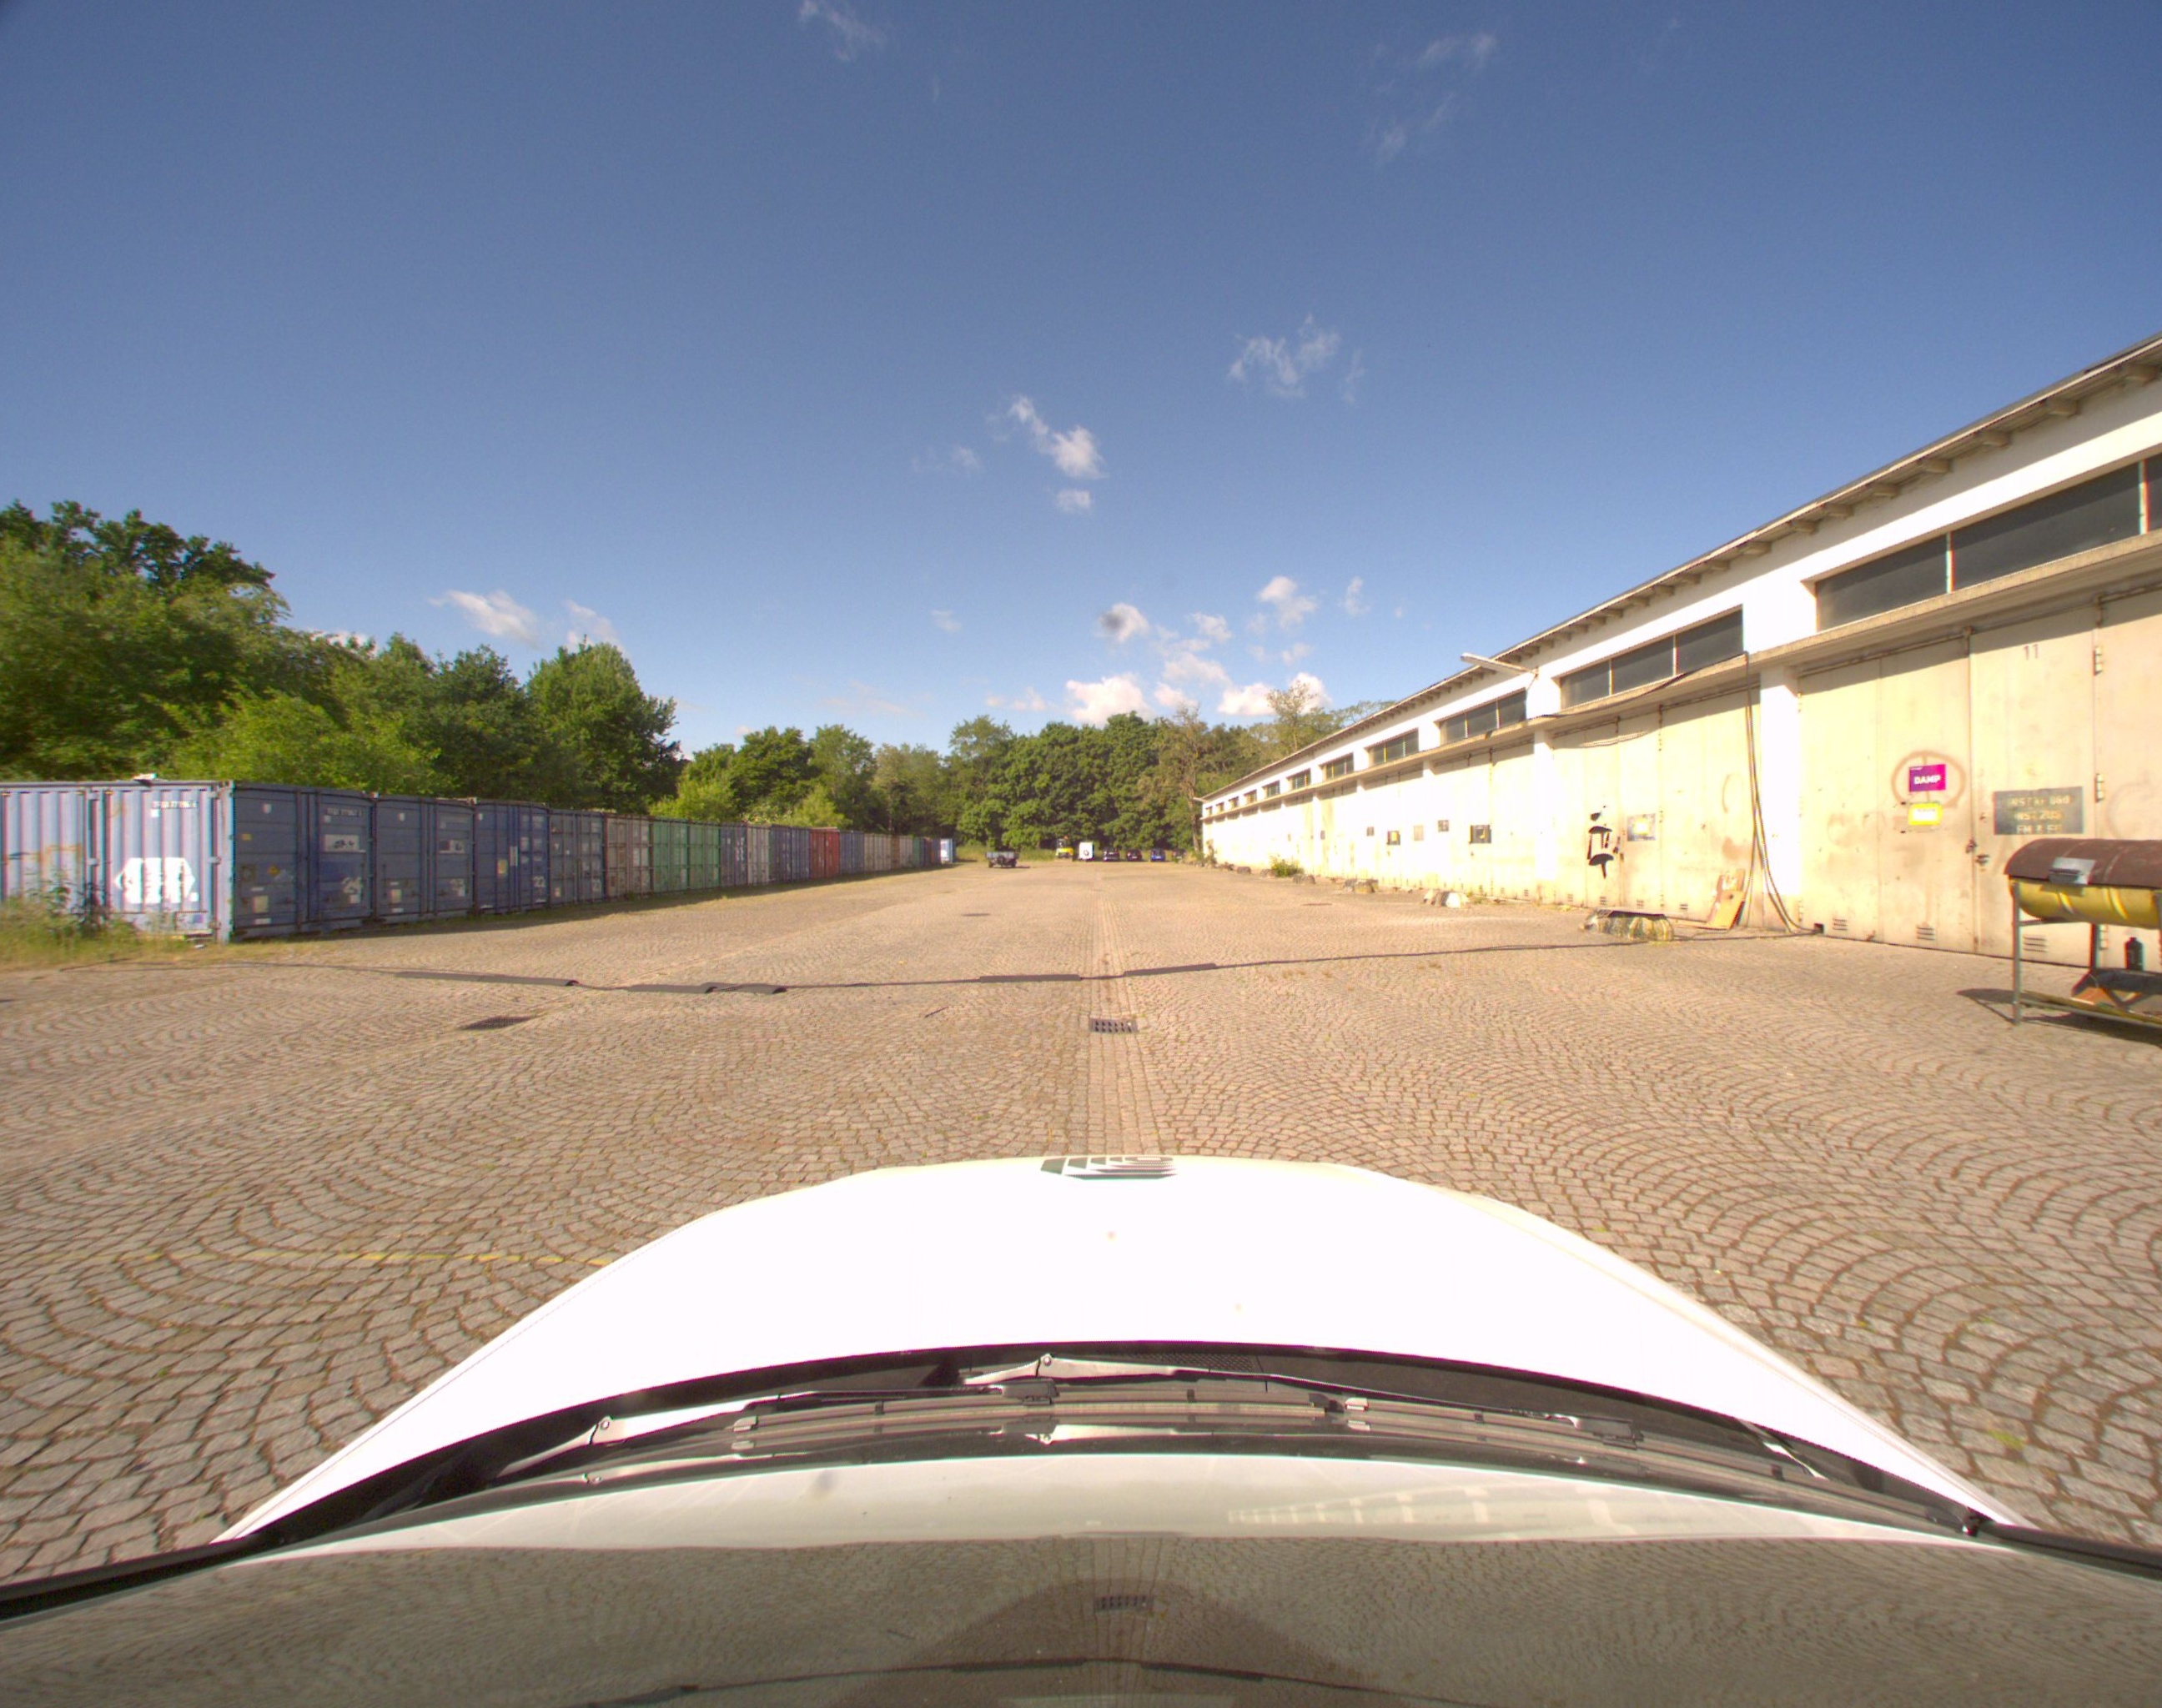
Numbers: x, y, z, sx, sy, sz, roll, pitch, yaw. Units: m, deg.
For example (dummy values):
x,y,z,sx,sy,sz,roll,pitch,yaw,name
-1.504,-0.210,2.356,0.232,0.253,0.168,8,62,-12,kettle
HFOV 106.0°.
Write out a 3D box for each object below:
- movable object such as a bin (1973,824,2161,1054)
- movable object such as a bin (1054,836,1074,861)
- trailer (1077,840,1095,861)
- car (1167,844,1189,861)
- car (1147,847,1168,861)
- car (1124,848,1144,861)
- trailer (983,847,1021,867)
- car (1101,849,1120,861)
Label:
x,y,z,sx,sy,sz,roll,pitch,yaw,name
7.013,0.510,5.457,0.872,1.401,1.101,0,0,0,movable object such as a bin
-1.889,-0.636,90.676,2.226,2.657,3.998,-1,0,-2,movable object such as a bin
0.557,-0.383,89.909,1.987,2.162,4.432,-1,0,0,trailer
10.685,-0.196,90.240,1.987,1.772,4.000,-1,0,1,car
8.311,-0.045,89.006,1.987,1.466,4.000,-1,0,1,car
5.728,0.020,89.028,1.987,1.424,4.000,-1,0,1,car
-6.878,0.236,71.384,2.782,1.646,5.620,-1,0,0,trailer
3.202,0.073,88.665,1.987,1.258,4.000,-1,0,1,car
